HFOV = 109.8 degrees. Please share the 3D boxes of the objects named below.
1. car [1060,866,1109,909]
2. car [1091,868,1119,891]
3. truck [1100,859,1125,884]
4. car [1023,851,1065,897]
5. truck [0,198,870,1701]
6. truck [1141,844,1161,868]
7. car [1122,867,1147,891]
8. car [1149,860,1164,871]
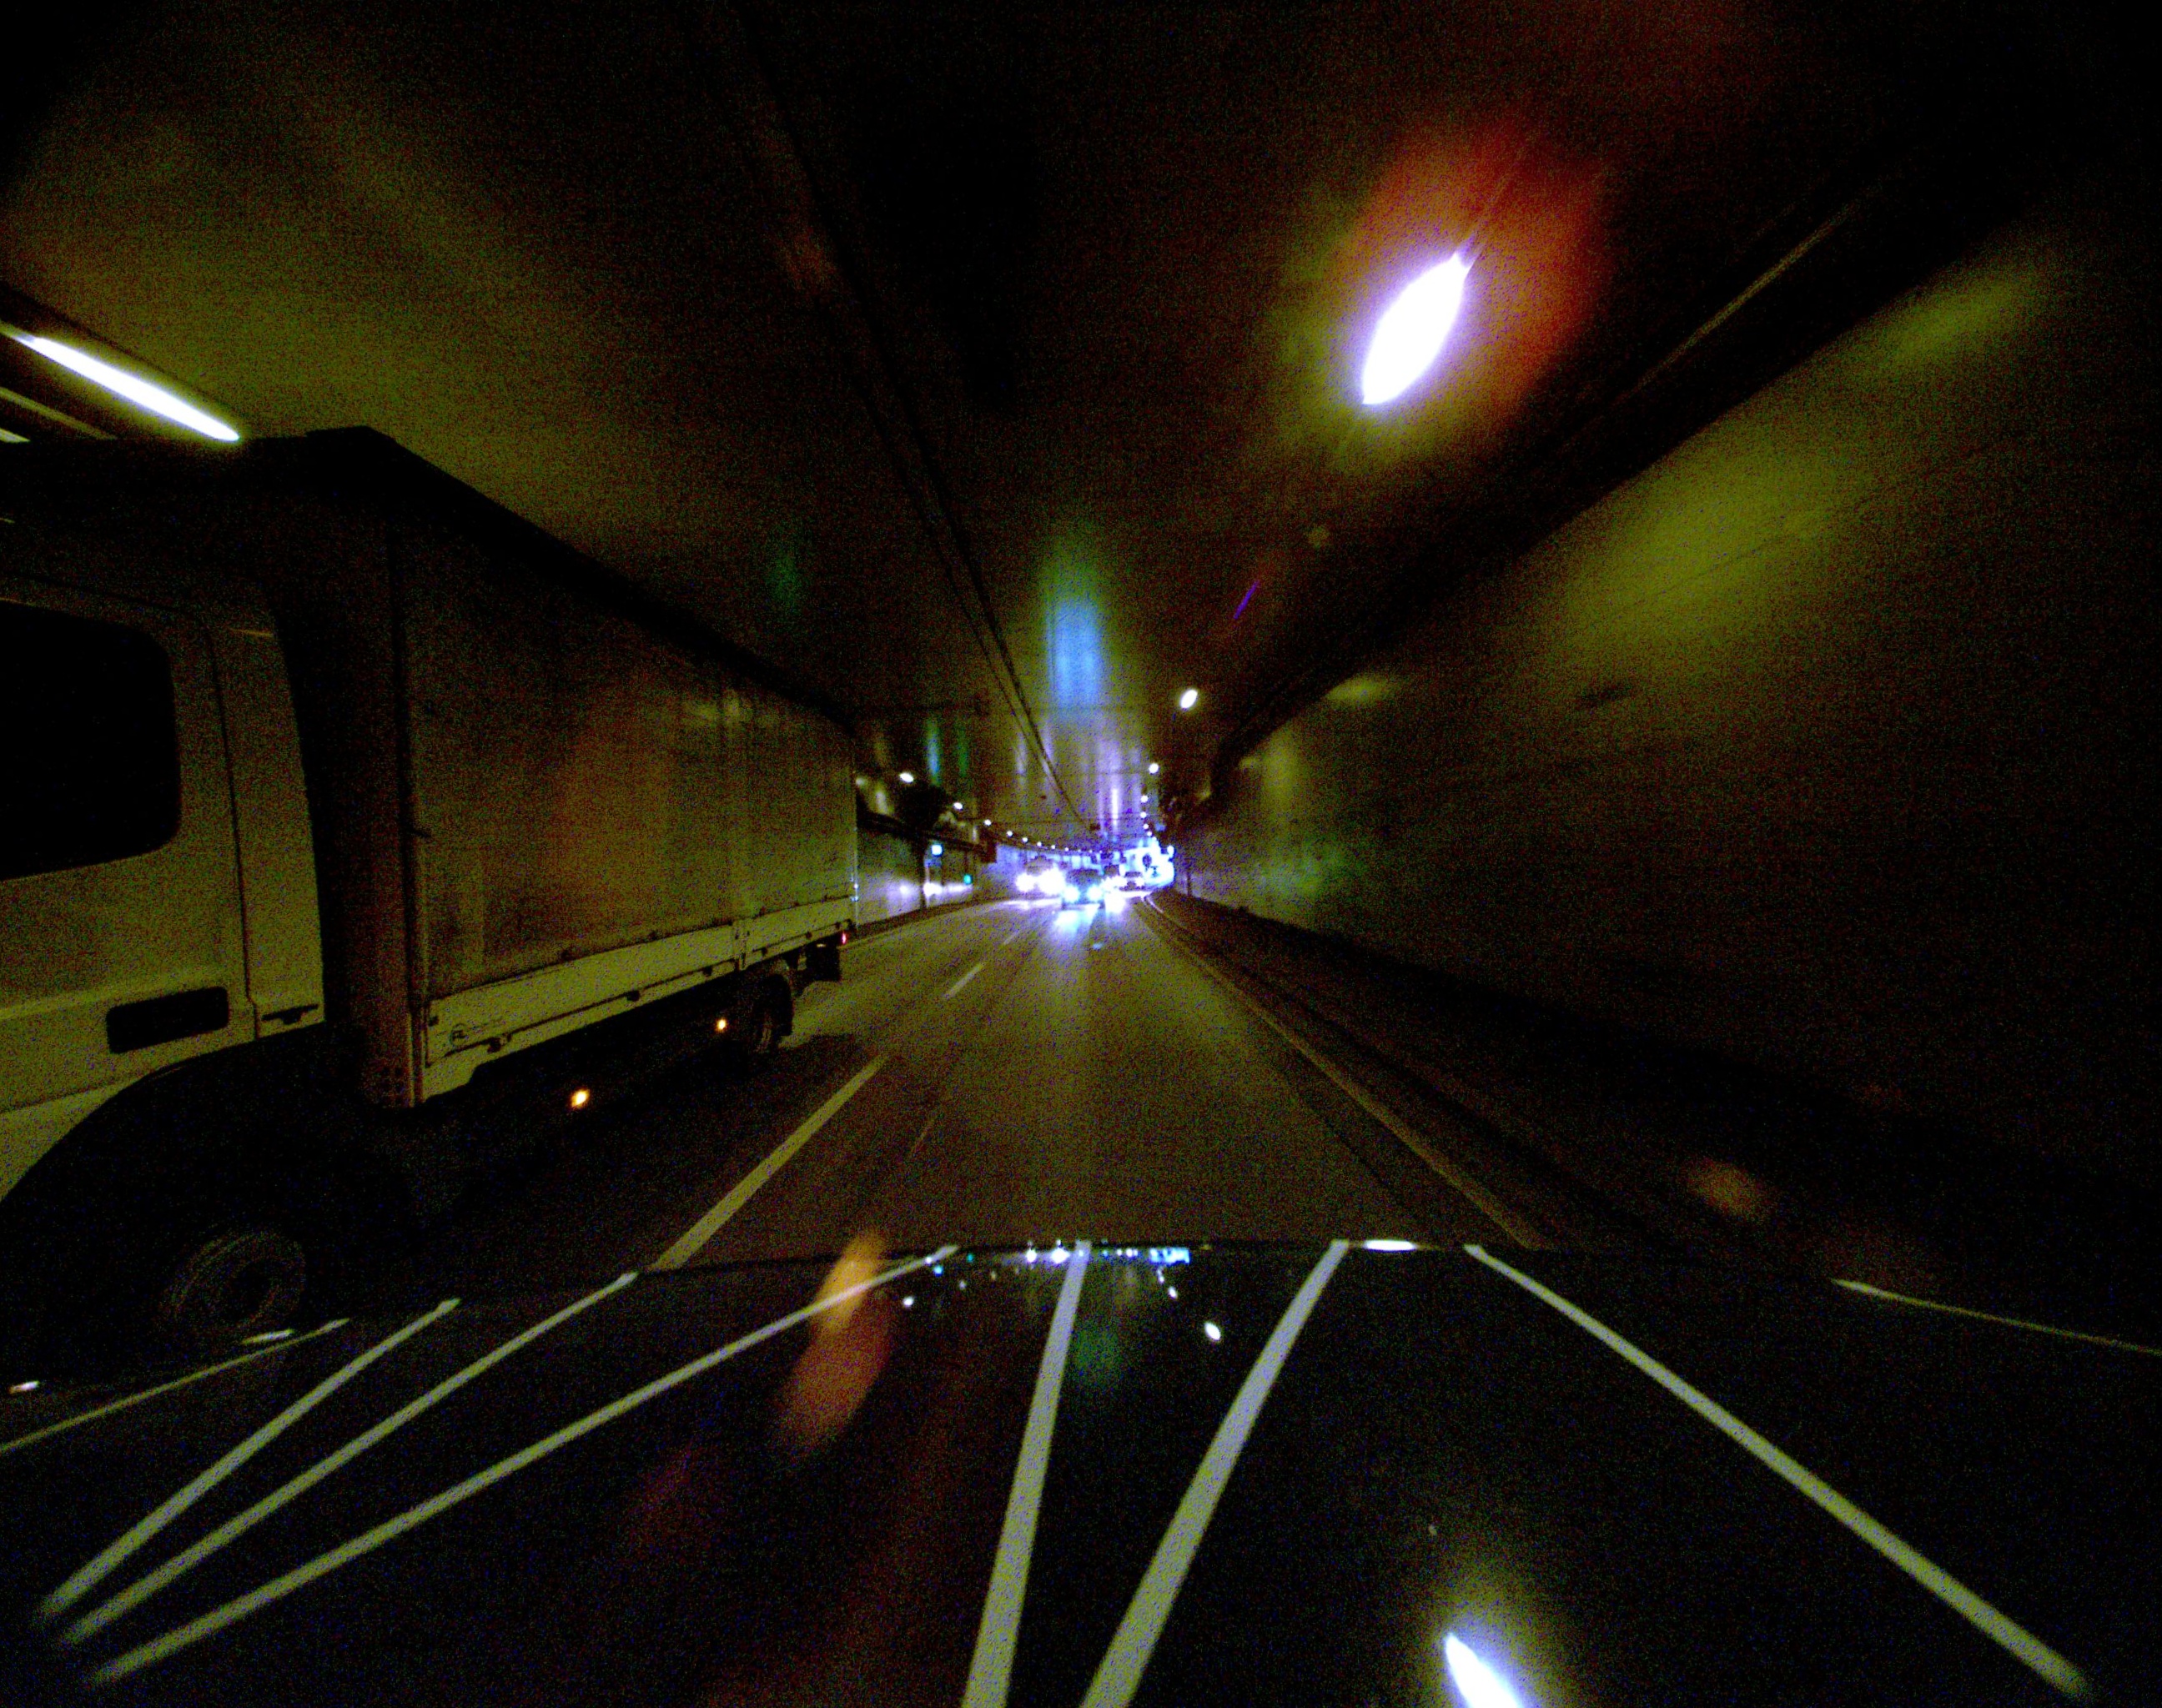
[{"bbox_3d":[0.196,1.277,29.761,1.639,1.551,3.718,-2,-1,4],"label":"car"},{"bbox_3d":[1.848,1.924,57.877,1.763,1.552,3.820,-1,0,7],"label":"car"},{"bbox_3d":[3.389,1.806,80.114,2.073,2.524,6.027,-1,0,7],"label":"truck"},{"bbox_3d":[-2.386,1.356,51.291,2.106,2.829,6.864,-2,-2,2],"label":"car"},{"bbox_3d":[-3.545,0.241,4.290,2.560,3.162,7.246,-2,-1,0],"label":"truck"},{"bbox_3d":[14.195,0.292,153.274,2.884,4.447,10.459,-1,2,11],"label":"truck"},{"bbox_3d":[4.900,2.243,68.997,1.934,1.918,4.199,-4,-1,6],"label":"car"},{"bbox_3d":[12.862,1.940,128.473,1.948,1.525,4.001,-5,3,13],"label":"car"}]
